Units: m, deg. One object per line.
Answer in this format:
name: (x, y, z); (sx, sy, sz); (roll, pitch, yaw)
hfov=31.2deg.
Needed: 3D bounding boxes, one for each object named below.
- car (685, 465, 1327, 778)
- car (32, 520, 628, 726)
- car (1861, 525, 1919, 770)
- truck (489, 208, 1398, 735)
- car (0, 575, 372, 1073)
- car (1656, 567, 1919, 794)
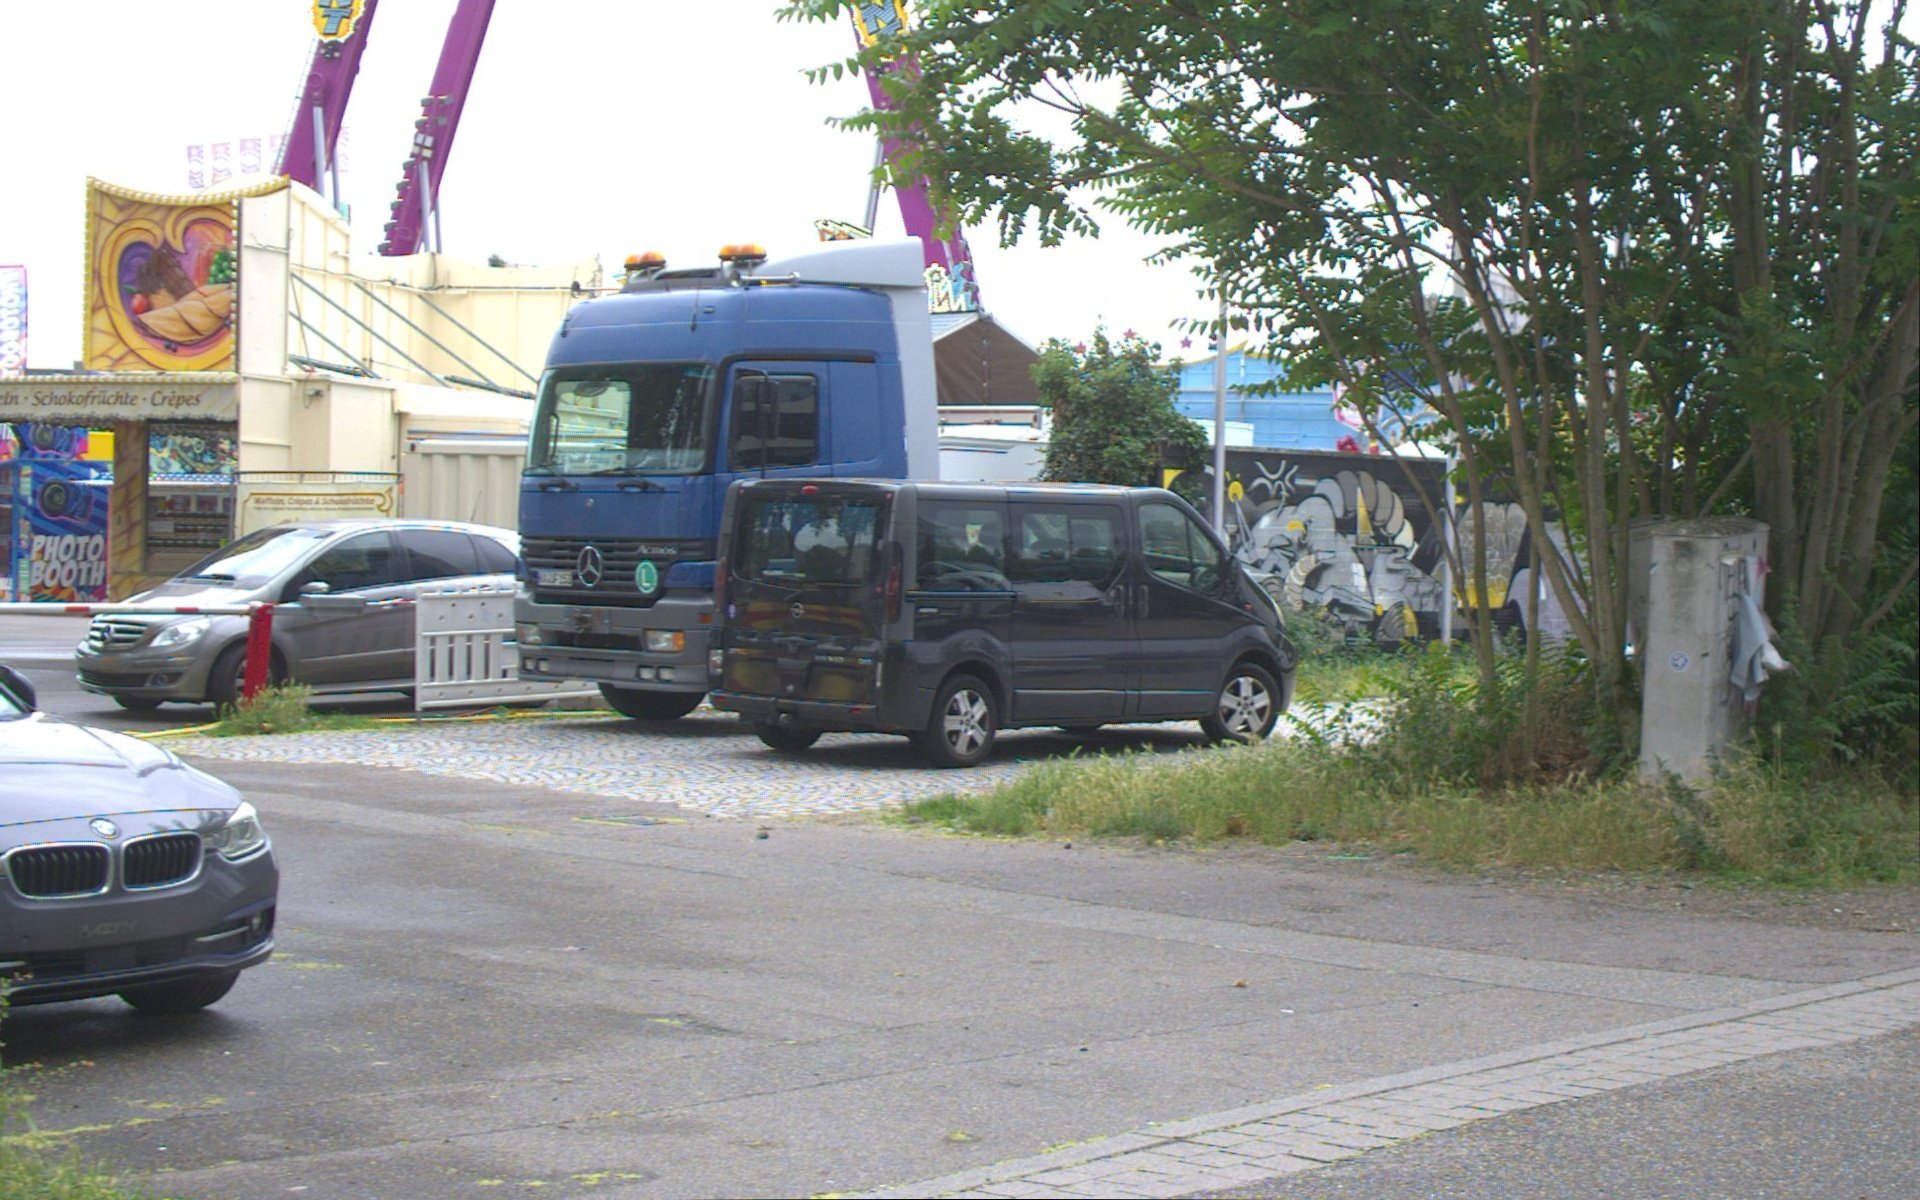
car: (0.415, 0.068, 24.657); (1.999, 2.006, 4.577); (3, 3, 43)
car: (-5.173, 0.157, 28.669); (1.999, 1.570, 4.576); (1, 1, 44)
car: (8.290, 0.420, 22.786); (3.997, 1.639, 1.887); (4, 2, 43)
truck: (0.130, -0.959, 28.743); (2.598, 3.809, 8.196); (1, 1, 44)
car: (-4.015, 0.624, 11.636); (3.996, 1.425, 1.865); (1, 1, 41)
car: (6.568, 0.537, 21.254); (3.997, 1.345, 1.886); (2, -1, 43)
